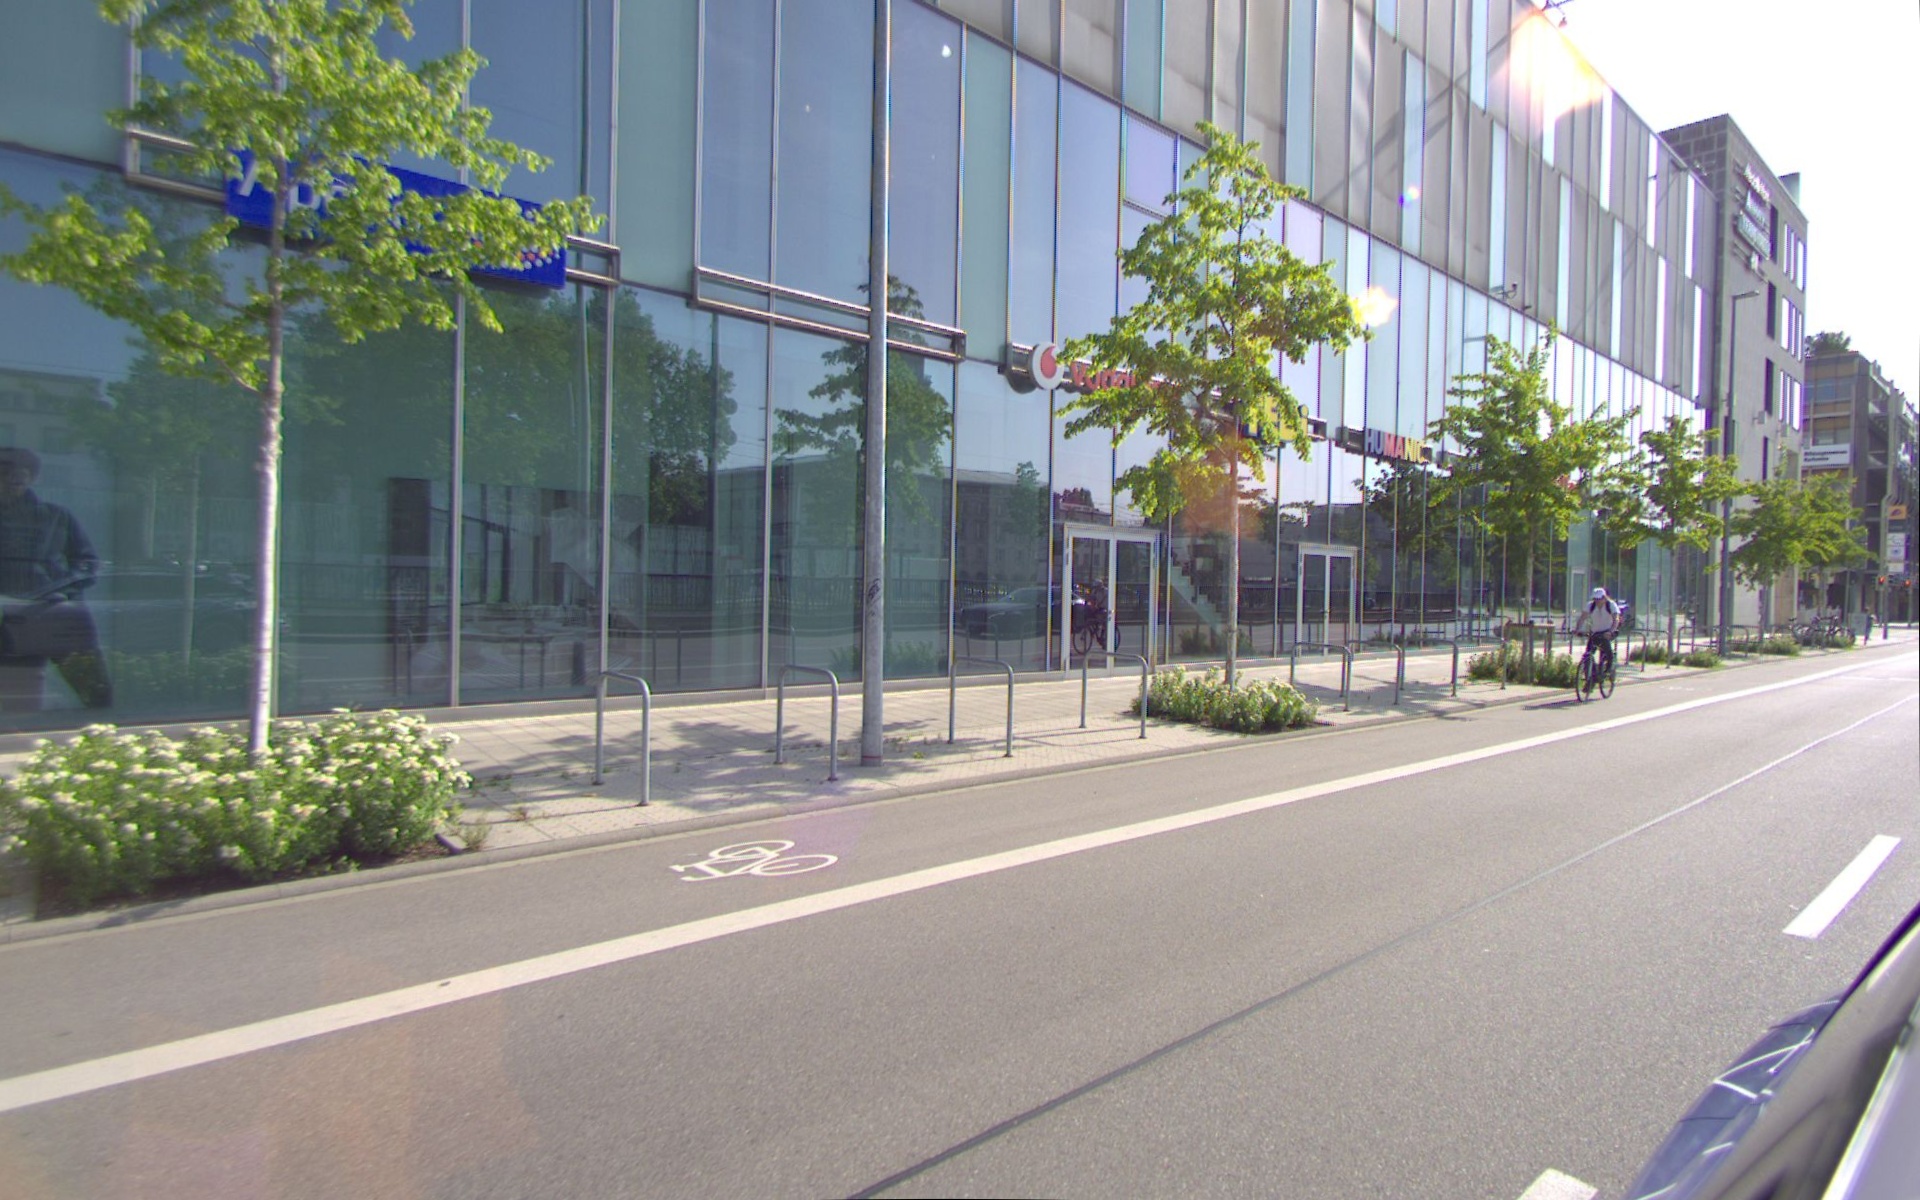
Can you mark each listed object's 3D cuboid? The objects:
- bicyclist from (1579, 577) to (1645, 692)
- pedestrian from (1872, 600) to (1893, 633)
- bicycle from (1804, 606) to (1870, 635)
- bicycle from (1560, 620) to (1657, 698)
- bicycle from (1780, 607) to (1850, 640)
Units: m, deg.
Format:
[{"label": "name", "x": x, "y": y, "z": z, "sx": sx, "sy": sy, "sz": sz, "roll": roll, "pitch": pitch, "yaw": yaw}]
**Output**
[{"label": "bicyclist", "x": 10.357, "y": 0.526, "z": 16.076, "sx": 0.755, "sy": 1.771, "sz": 0.653, "roll": 1, "pitch": 0, "yaw": -38}, {"label": "pedestrian", "x": 43.353, "y": 0.775, "z": 47.561, "sx": 0.707, "sy": 1.506, "sz": 0.595, "roll": 1, "pitch": 0, "yaw": 43}, {"label": "bicycle", "x": 34.337, "y": 0.792, "z": 39.630, "sx": 0.674, "sy": 1.127, "sz": 1.843, "roll": 1, "pitch": -1, "yaw": -38}, {"label": "bicycle", "x": 10.295, "y": 0.897, "z": 16.043, "sx": 2.013, "sy": 1.131, "sz": 0.662, "roll": 1, "pitch": 1, "yaw": -38}, {"label": "bicycle", "x": 31.217, "y": 0.856, "z": 36.962, "sx": 0.481, "sy": 1.123, "sz": 1.883, "roll": 1, "pitch": 1, "yaw": -38}]
